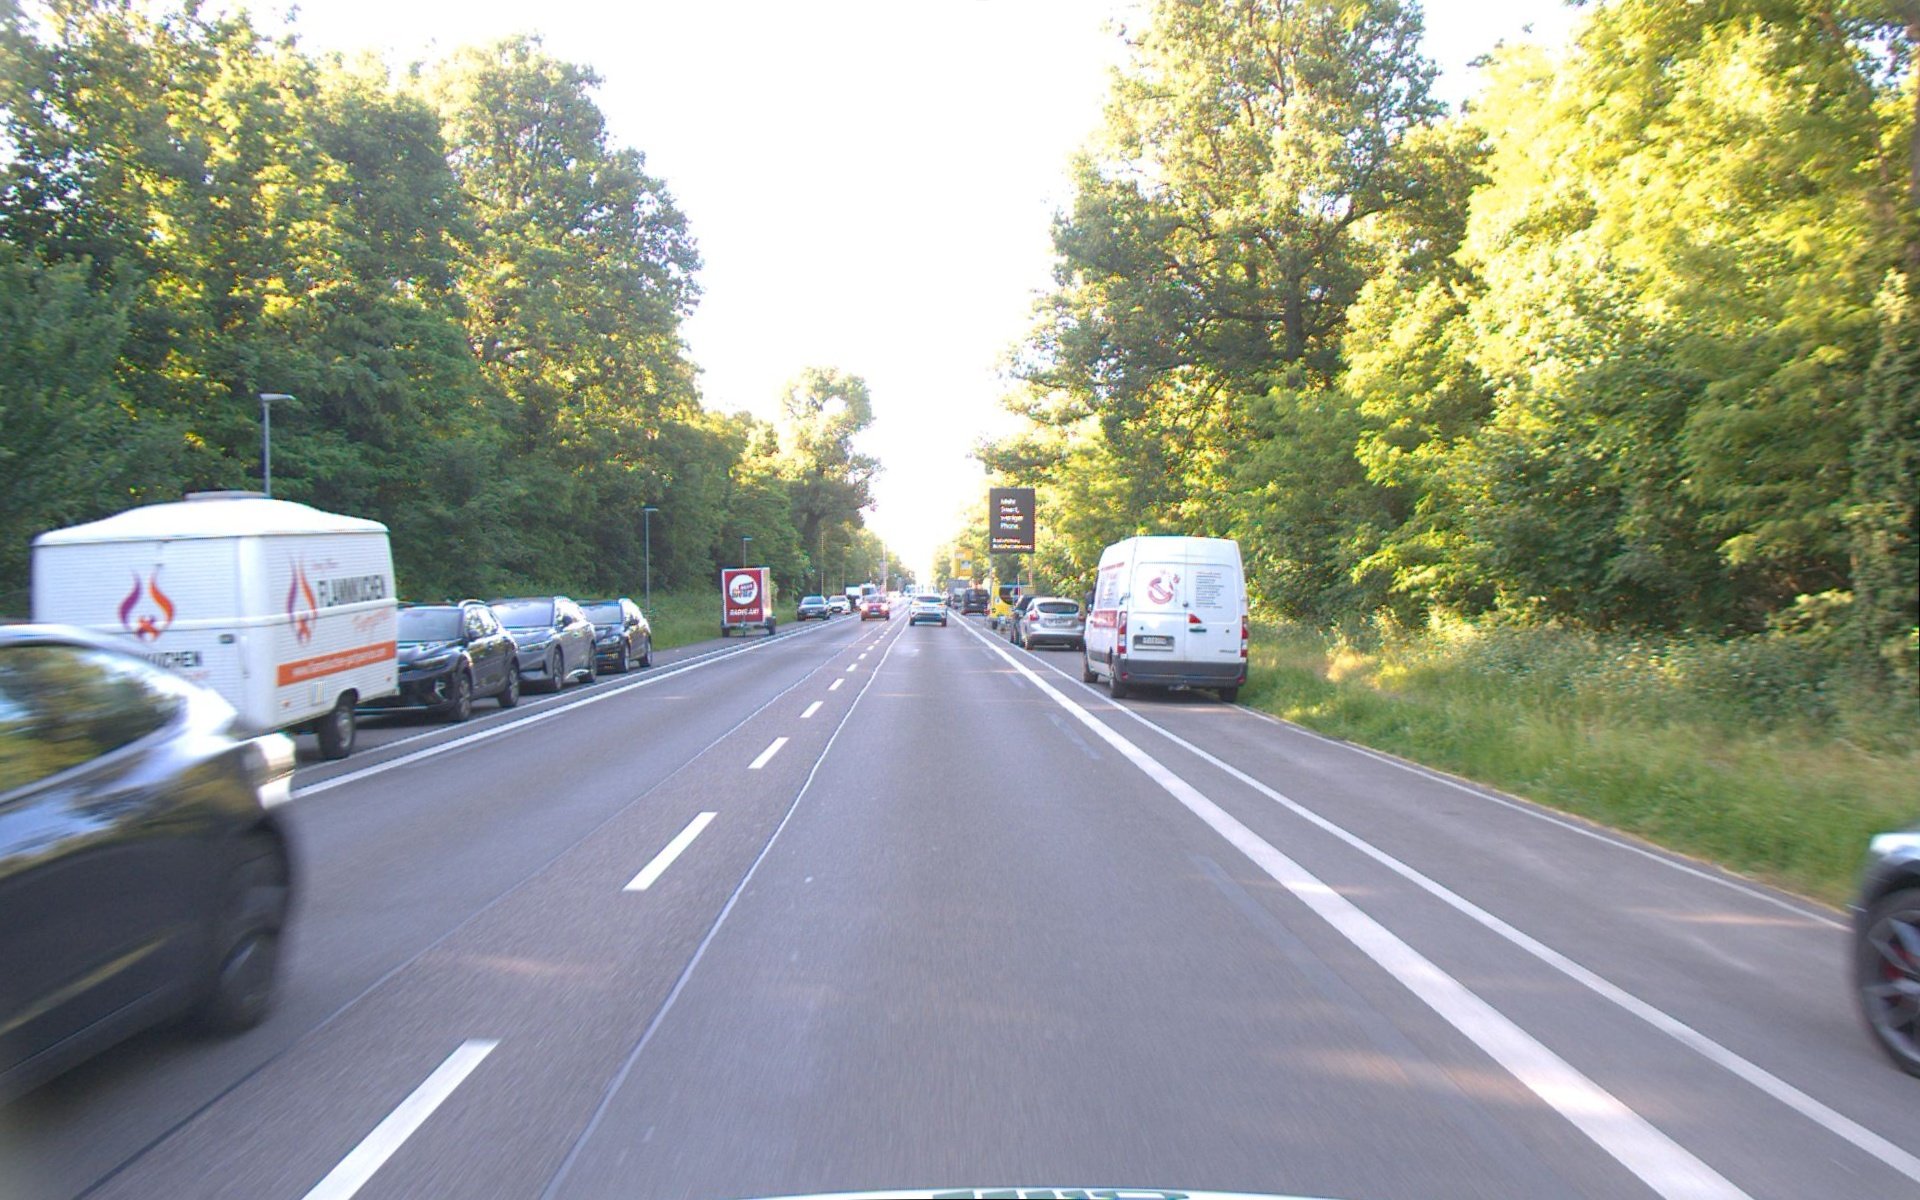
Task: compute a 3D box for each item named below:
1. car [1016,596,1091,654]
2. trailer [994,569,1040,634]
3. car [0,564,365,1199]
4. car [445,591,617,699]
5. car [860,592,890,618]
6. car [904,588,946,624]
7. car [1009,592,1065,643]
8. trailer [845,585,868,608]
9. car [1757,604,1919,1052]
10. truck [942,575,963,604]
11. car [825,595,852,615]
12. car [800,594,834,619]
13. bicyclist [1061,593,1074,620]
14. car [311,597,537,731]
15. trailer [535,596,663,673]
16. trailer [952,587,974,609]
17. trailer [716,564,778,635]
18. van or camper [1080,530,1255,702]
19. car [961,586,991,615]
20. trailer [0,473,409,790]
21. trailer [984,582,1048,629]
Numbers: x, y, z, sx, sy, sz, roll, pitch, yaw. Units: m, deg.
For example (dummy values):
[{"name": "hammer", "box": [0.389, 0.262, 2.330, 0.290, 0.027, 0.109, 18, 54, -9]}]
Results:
[{"name": "car", "box": [2.668, 0.683, 47.842, 1.700, 1.513, 4.399, 2, 0, -2]}, {"name": "trailer", "box": [2.300, 0.077, 67.471, 1.581, 2.552, 3.999, 1, 0, -1]}, {"name": "car", "box": [-3.224, 0.708, 4.307, 1.782, 1.559, 4.529, -1, 0, -1]}, {"name": "car", "box": [-7.274, 0.718, 28.539, 1.637, 1.601, 5.126, -3, 0, -1]}, {"name": "car", "box": [-4.900, 0.268, 95.361, 1.571, 1.445, 3.517, -2, 0, -1]}, {"name": "car", "box": [-1.699, 0.282, 80.025, 1.953, 1.668, 3.999, 0, 0, -1]}, {"name": "car", "box": [2.444, 0.535, 53.188, 1.554, 1.557, 3.010, 2, 0, -1]}, {"name": "trailer", "box": [-10.696, -0.367, 171.048, 2.032, 2.333, 3.486, -1, 0, 1]}, {"name": "car", "box": [4.135, 0.804, 4.117, 1.798, 1.445, 4.593, 3, 0, -4]}, {"name": "truck", "box": [-0.888, -1.224, 199.461, 2.454, 3.425, 7.106, 1, 0, -1]}, {"name": "car", "box": [-9.534, 0.359, 130.050, 1.829, 1.476, 4.070, -3, 0, -1]}, {"name": "car", "box": [-8.893, 0.400, 103.114, 1.817, 1.490, 4.783, 0, 0, -1]}, {"name": "bicyclist", "box": [5.610, 0.333, 86.250, 0.598, 1.347, 1.175, 0, 0, -1]}, {"name": "car", "box": [-7.014, 0.777, 22.095, 1.637, 1.521, 4.193, -3, 0, -1]}, {"name": "trailer", "box": [-7.547, 0.678, 34.957, 1.804, 1.492, 4.465, 0, 0, -1]}, {"name": "trailer", "box": [0.344, -0.192, 169.610, 1.580, 2.149, 2.397, 1, 0, 19]}, {"name": "trailer", "box": [-8.272, -0.033, 64.468, 1.953, 2.667, 4.085, 0, 0, -1]}, {"name": "van or camper", "box": [3.284, 0.217, 27.467, 2.082, 2.526, 6.304, 0, 0, 0]}, {"name": "car", "box": [1.199, 0.031, 125.434, 2.071, 2.049, 5.038, 2, 0, -1]}, {"name": "trailer", "box": [-6.987, 0.241, 15.735, 2.300, 2.573, 4.340, -1, 0, -4]}, {"name": "trailer", "box": [2.594, 0.235, 75.872, 1.921, 2.058, 3.846, 0, 0, 18]}]
